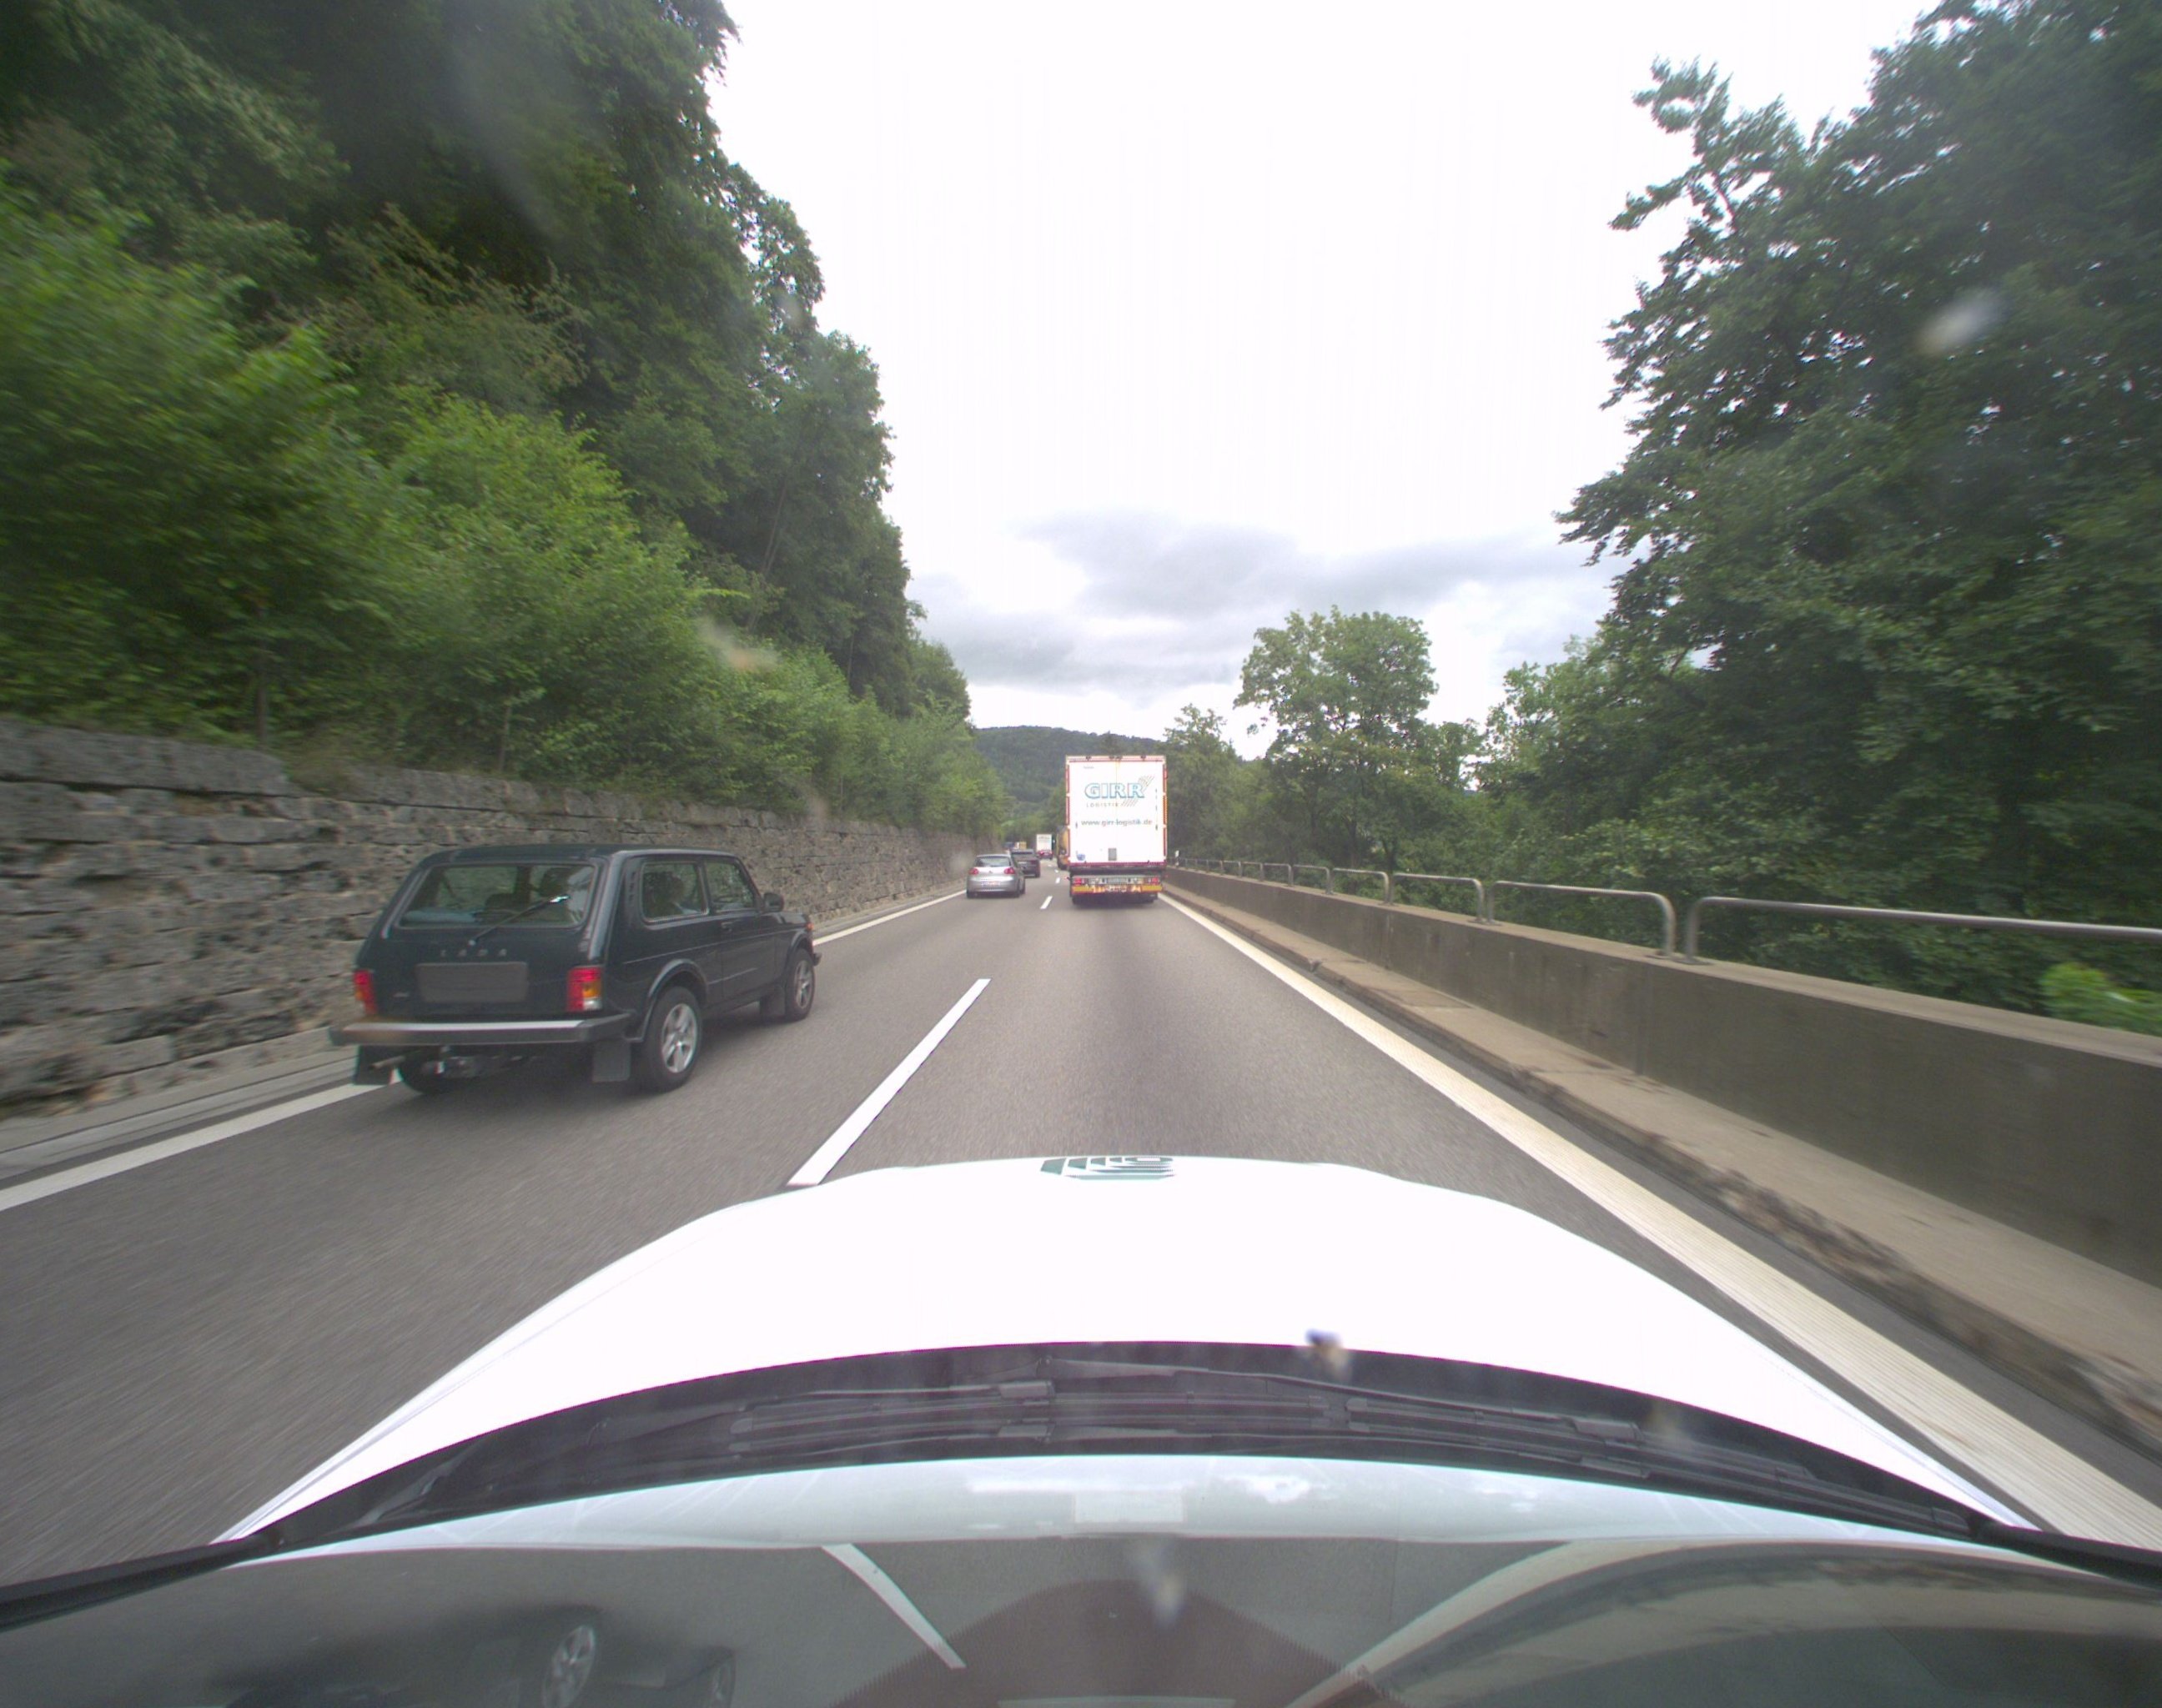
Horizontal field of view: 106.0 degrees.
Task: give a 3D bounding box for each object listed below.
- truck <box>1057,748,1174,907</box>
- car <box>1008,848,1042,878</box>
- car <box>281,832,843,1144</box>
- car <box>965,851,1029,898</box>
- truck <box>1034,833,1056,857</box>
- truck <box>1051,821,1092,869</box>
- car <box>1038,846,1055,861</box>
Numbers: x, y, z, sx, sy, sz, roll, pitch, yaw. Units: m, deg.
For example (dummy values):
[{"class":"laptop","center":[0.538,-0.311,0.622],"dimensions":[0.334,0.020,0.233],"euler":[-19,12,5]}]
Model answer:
[{"class":"truck","center":[0.948,-0.674,25.044],"dimensions":[2.898,3.960,9.280],"euler":[0,0,1]},{"class":"car","center":[-3.201,0.500,47.149],"dimensions":[1.912,1.595,4.174],"euler":[-1,0,-3]},{"class":"car","center":[-3.349,0.715,6.349],"dimensions":[1.662,1.638,4.070],"euler":[-1,0,2]},{"class":"car","center":[-2.841,0.663,28.337],"dimensions":[1.723,1.486,4.000],"euler":[-1,0,1]},{"class":"truck","center":[-6.096,-1.412,137.014],"dimensions":[3.503,3.847,11.763],"euler":[0,-1,-3]},{"class":"truck","center":[-0.843,-0.648,65.171],"dimensions":[2.482,3.571,9.290],"euler":[-1,0,-5]},{"class":"car","center":[-4.723,-0.105,111.799],"dimensions":[1.985,2.014,4.003],"euler":[0,-1,3]}]
